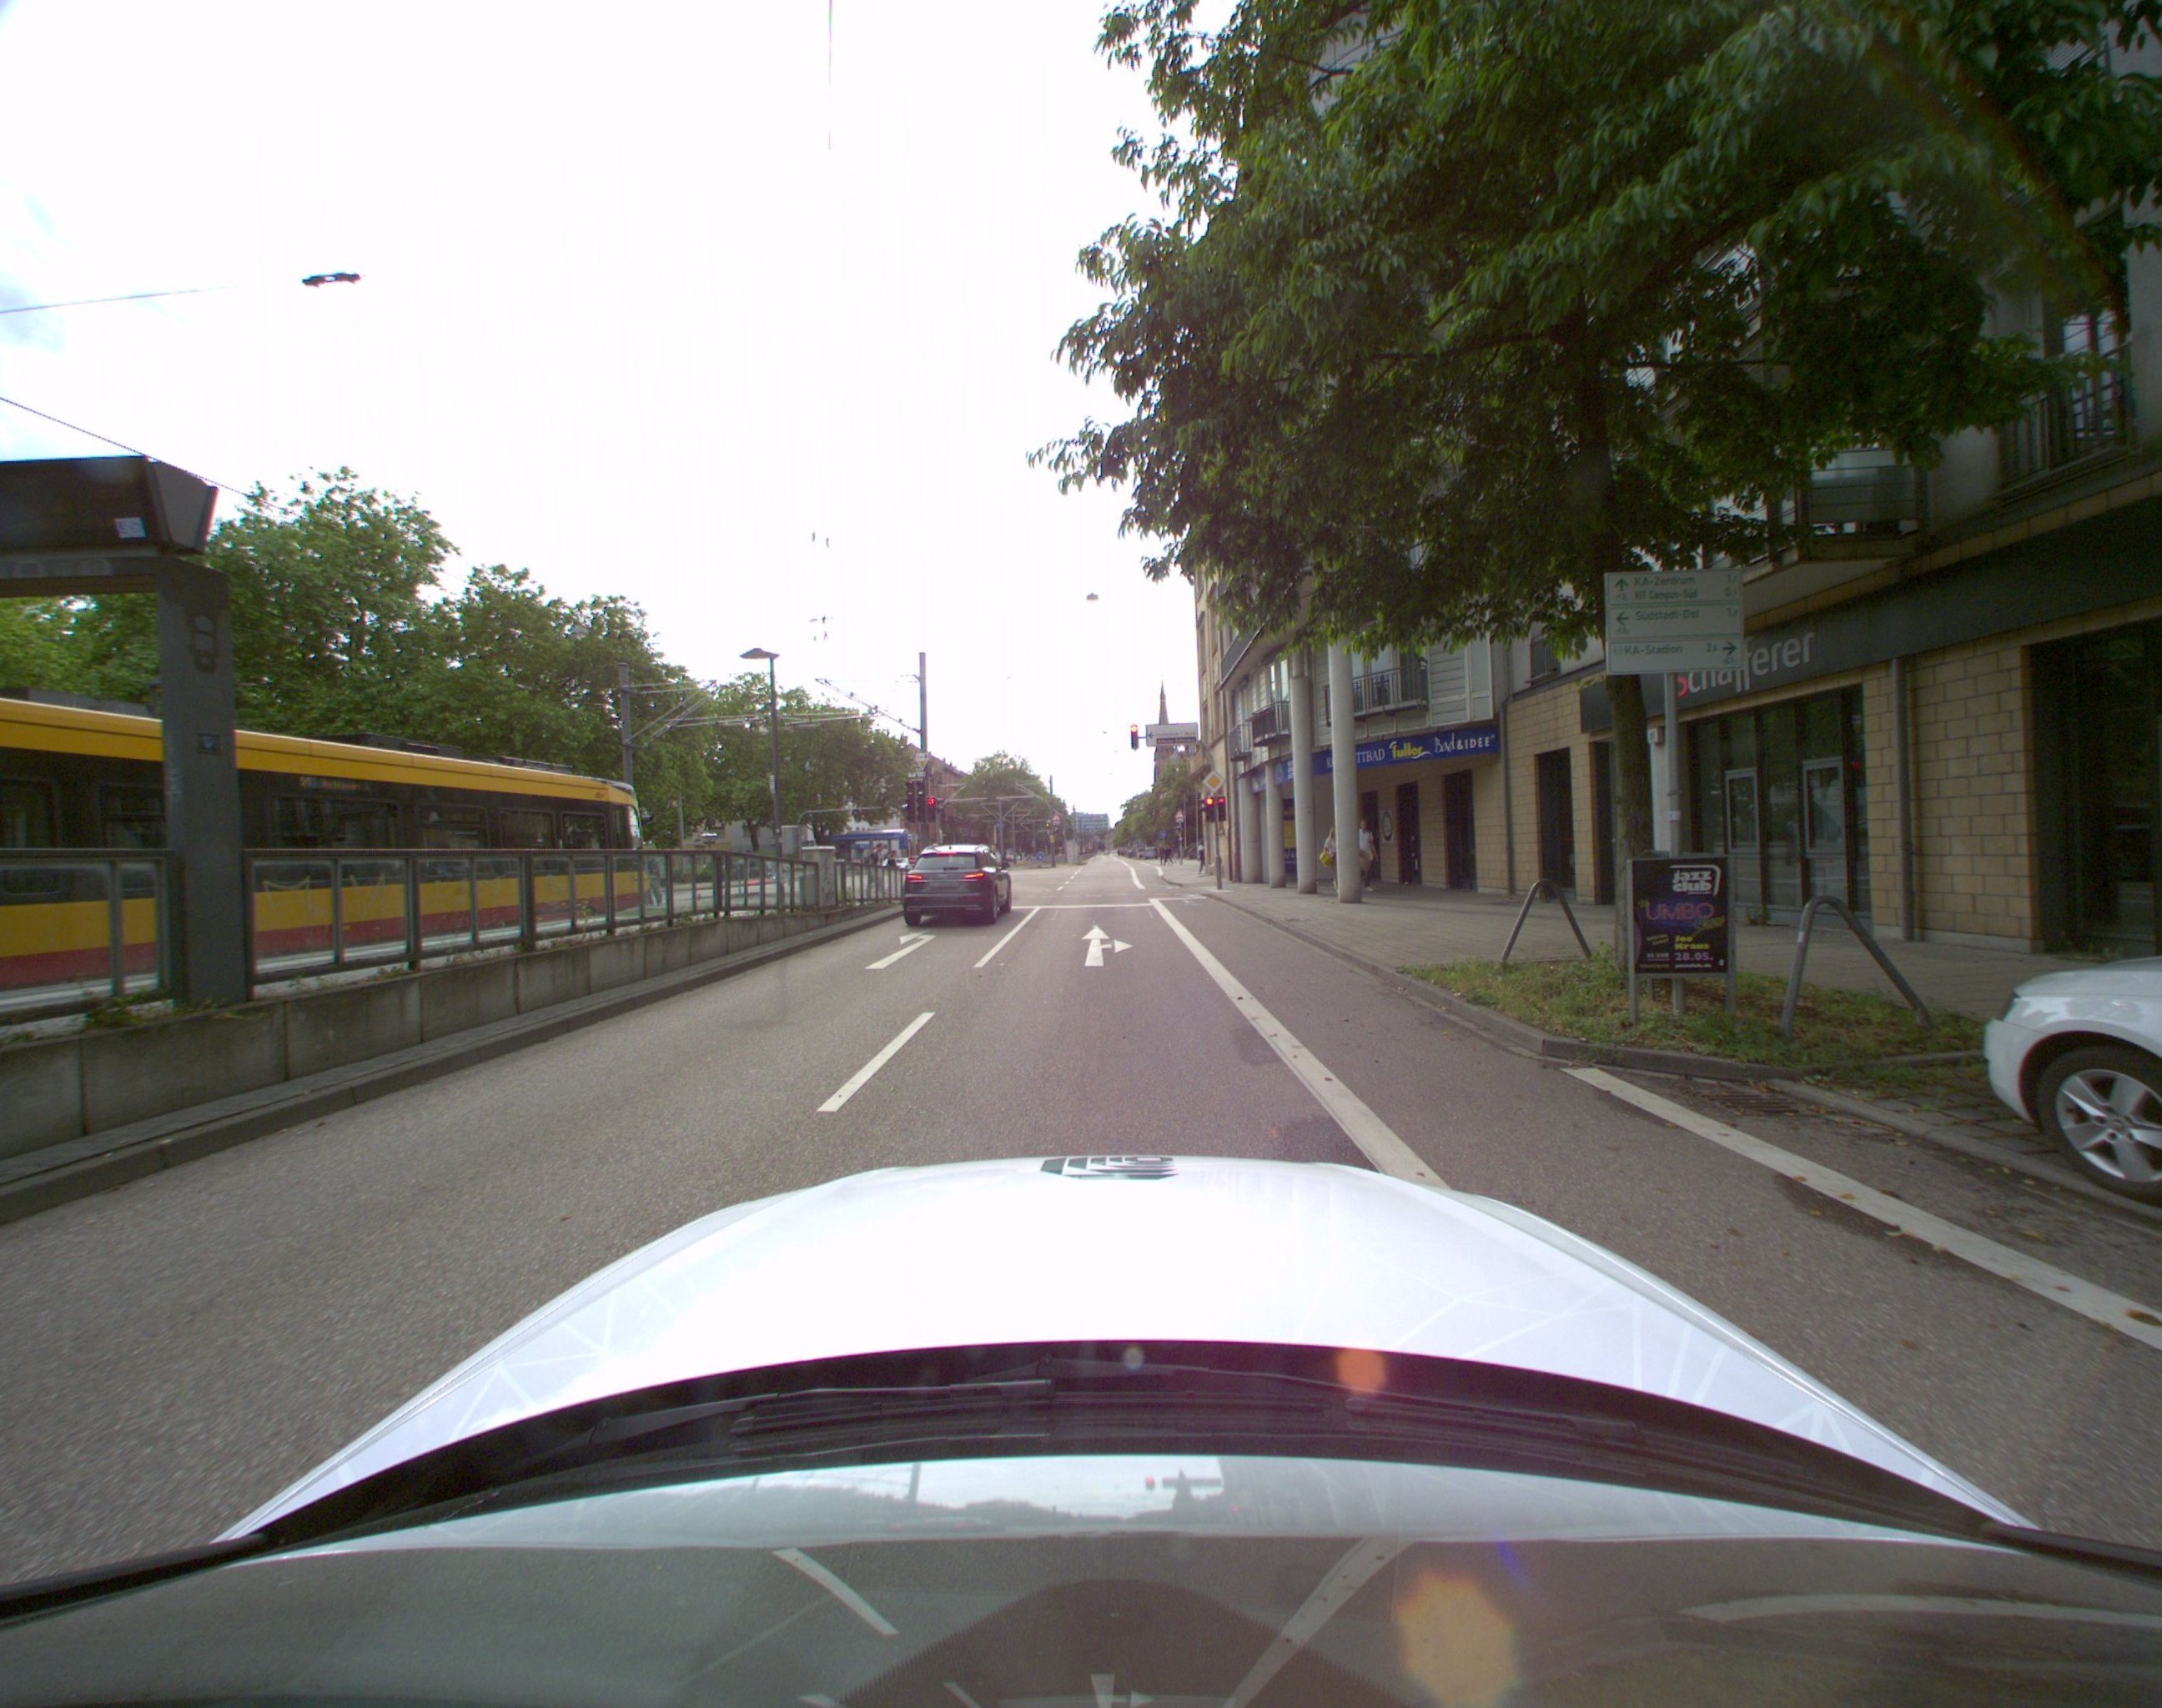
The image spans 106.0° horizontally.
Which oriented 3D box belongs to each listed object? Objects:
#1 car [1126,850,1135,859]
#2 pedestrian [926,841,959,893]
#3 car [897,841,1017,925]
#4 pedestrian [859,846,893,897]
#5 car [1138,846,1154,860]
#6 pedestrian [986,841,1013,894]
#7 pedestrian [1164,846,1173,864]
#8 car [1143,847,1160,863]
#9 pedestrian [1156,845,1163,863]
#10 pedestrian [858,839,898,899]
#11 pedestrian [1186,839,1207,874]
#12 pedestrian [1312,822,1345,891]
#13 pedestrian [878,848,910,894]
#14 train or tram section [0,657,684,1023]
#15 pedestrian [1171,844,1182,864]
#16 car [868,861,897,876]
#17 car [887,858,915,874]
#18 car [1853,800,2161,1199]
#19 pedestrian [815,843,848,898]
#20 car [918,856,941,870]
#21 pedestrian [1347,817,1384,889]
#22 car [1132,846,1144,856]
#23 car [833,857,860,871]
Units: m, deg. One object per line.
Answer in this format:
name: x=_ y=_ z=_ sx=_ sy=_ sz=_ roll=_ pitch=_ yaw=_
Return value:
car: x=11.411 y=0.141 z=188.751 sx=1.986 sy=2.013 sz=4.001 roll=-1 pitch=0 yaw=1
pedestrian: x=-4.814 y=0.434 z=28.326 sx=0.906 sy=1.784 sz=0.651 roll=-1 pitch=0 yaw=39
car: x=-2.597 y=0.556 z=18.096 sx=1.873 sy=1.601 sz=4.358 roll=-2 pitch=0 yaw=1
pedestrian: x=-6.863 y=0.574 z=27.287 sx=0.999 sy=1.652 sz=0.623 roll=-1 pitch=0 yaw=-26
car: x=9.288 y=-0.149 z=116.651 sx=1.986 sy=2.013 sz=4.001 roll=-1 pitch=0 yaw=1
pedestrian: x=-2.610 y=0.428 z=26.095 sx=0.725 sy=1.661 sz=0.756 roll=-1 pitch=0 yaw=1
pedestrian: x=7.440 y=0.063 z=69.229 sx=0.651 sy=1.537 sz=0.465 roll=-1 pitch=0 yaw=-3
car: x=9.287 y=0.137 z=107.210 sx=1.986 sy=2.013 sz=4.001 roll=-1 pitch=0 yaw=1
pedestrian: x=6.727 y=0.033 z=69.691 sx=0.544 sy=1.537 sz=0.465 roll=-1 pitch=0 yaw=-3
pedestrian: x=-6.243 y=0.445 z=25.074 sx=1.132 sy=1.778 sz=0.625 roll=-2 pitch=-1 yaw=-16
pedestrian: x=5.627 y=0.116 z=39.689 sx=0.663 sy=1.680 sz=0.874 roll=-1 pitch=0 yaw=40
pedestrian: x=6.663 y=0.068 z=21.929 sx=0.613 sy=1.805 sz=0.738 roll=-3 pitch=0 yaw=3
pedestrian: x=-6.575 y=0.588 z=28.613 sx=0.693 sy=1.593 sz=0.836 roll=-1 pitch=0 yaw=39
train or tram section: x=-11.984 y=-0.132 z=12.991 sx=3.048 sy=3.588 sz=15.855 roll=-1 pitch=0 yaw=2
pedestrian: x=7.933 y=-0.019 z=67.518 sx=0.848 sy=1.654 sz=0.508 roll=-1 pitch=0 yaw=-1
car: x=-18.635 y=1.336 z=76.633 sx=1.628 sy=1.325 sz=4.001 roll=-1 pitch=0 yaw=2
car: x=-18.314 y=1.220 z=82.942 sx=1.887 sy=1.557 sz=3.838 roll=-1 pitch=0 yaw=2
car: x=4.927 y=0.532 z=2.148 sx=1.669 sy=1.498 sz=4.393 roll=-5 pitch=0 yaw=3
pedestrian: x=-8.377 y=0.535 z=27.342 sx=1.015 sy=1.813 sz=0.580 roll=-1 pitch=0 yaw=-22
car: x=-17.971 y=1.015 z=96.753 sx=1.887 sy=1.557 sz=3.838 roll=-1 pitch=0 yaw=2
pedestrian: x=7.644 y=-0.031 z=21.877 sx=0.672 sy=1.890 sz=0.738 roll=-3 pitch=0 yaw=3
car: x=10.142 y=-0.596 z=145.466 sx=1.986 sy=1.607 sz=4.165 roll=-4 pitch=0 yaw=1
car: x=-28.258 y=1.191 z=98.322 sx=1.986 sy=1.530 sz=4.001 roll=-1 pitch=0 yaw=1
